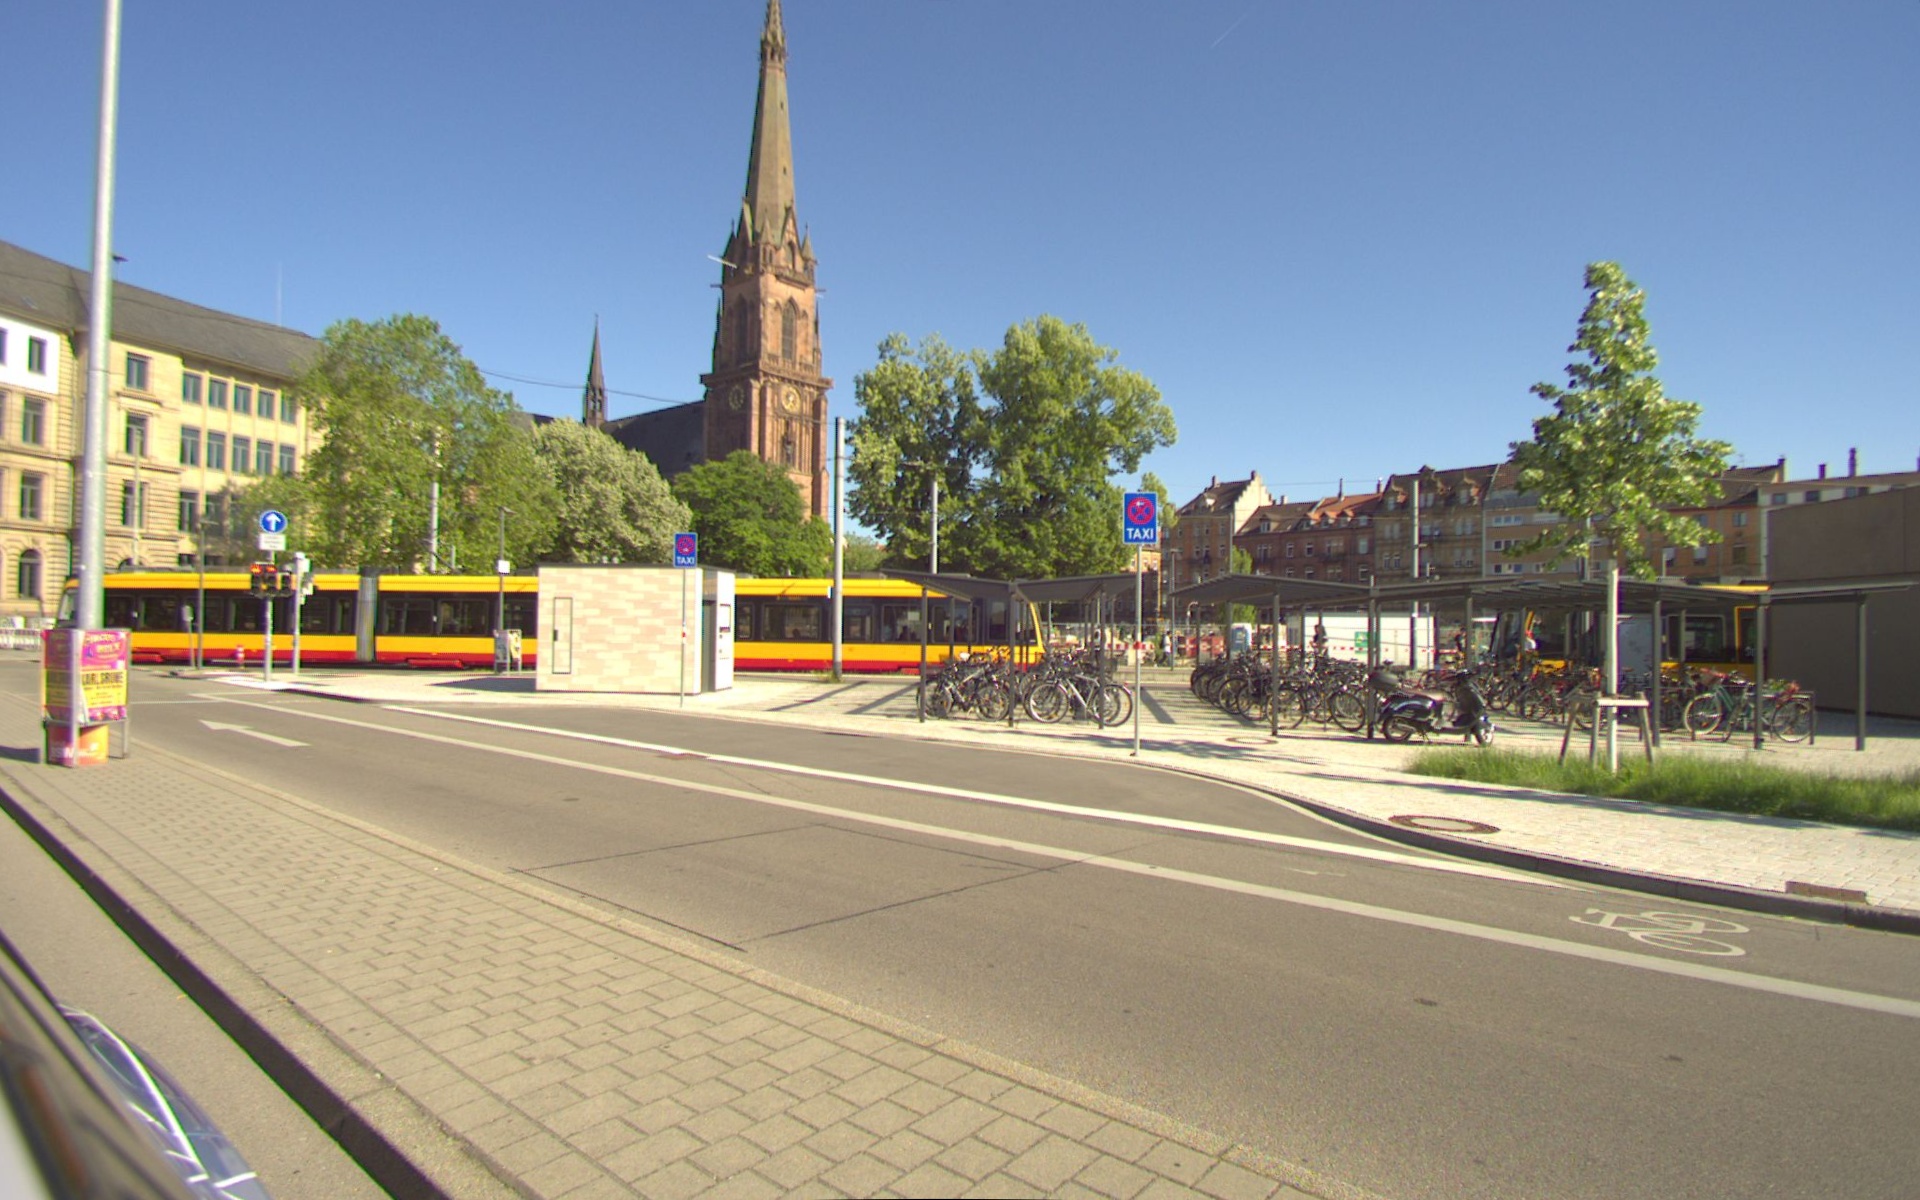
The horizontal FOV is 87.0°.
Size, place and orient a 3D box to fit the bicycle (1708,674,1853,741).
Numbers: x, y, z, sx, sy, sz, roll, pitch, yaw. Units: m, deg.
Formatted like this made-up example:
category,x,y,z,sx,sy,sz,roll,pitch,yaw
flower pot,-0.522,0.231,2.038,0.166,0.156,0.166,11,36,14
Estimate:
category,x,y,z,sx,sy,sz,roll,pitch,yaw
bicycle,13.022,1.699,16.080,1.803,1.015,0.629,1,-2,-3

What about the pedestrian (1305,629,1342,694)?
category,x,y,z,sx,sy,sz,roll,pitch,yaw
pedestrian,9.483,1.598,26.448,0.762,1.672,0.604,0,-2,4

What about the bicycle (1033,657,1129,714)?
category,x,y,z,sx,sy,sz,roll,pitch,yaw
bicycle,2.323,1.639,19.543,1.808,1.015,0.745,0,-2,7

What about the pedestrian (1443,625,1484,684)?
category,x,y,z,sx,sy,sz,roll,pitch,yaw
pedestrian,17.665,1.907,35.513,0.997,2.029,0.872,0,-2,0

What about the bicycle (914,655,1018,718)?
category,x,y,z,sx,sy,sz,roll,pitch,yaw
bicycle,0.118,1.541,18.239,1.809,1.074,0.627,0,-2,9

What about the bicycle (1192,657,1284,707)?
category,x,y,z,sx,sy,sz,roll,pitch,yaw
bicycle,5.971,1.761,21.809,1.805,1.015,0.629,0,-2,0

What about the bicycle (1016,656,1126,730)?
category,x,y,z,sx,sy,sz,roll,pitch,yaw
bicycle,1.867,1.559,17.136,1.808,1.167,0.627,1,-2,7

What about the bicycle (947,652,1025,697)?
category,x,y,z,sx,sy,sz,roll,pitch,yaw
bicycle,0.621,1.754,24.117,1.809,1.015,0.627,0,-2,9

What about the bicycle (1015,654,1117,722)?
category,x,y,z,sx,sy,sz,roll,pitch,yaw
bicycle,1.911,1.581,18.278,1.808,1.157,0.627,0,-2,7

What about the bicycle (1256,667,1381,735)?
category,x,y,z,sx,sy,sz,roll,pitch,yaw
bicycle,5.979,1.680,16.981,1.871,1.050,0.688,0,-2,9

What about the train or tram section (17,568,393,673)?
category,x,y,z,sx,sy,sz,roll,pitch,yaw
train or tram section,-27.525,0.739,37.112,12.382,3.628,2.796,0,-2,6

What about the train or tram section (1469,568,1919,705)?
category,x,y,z,sx,sy,sz,roll,pitch,yaw
train or tram section,21.393,0.989,28.653,12.179,3.628,2.748,0,-2,7

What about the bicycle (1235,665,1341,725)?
category,x,y,z,sx,sy,sz,roll,pitch,yaw
bicycle,5.855,1.689,18.135,1.731,1.015,0.547,0,-2,10

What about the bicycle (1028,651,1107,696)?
category,x,y,z,sx,sy,sz,roll,pitch,yaw
bicycle,2.512,1.707,23.612,1.808,1.015,0.627,0,-2,7

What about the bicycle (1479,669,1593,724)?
category,x,y,z,sx,sy,sz,roll,pitch,yaw
bicycle,11.264,1.877,19.844,1.809,1.015,0.627,0,-2,9

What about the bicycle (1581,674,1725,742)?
category,x,y,z,sx,sy,sz,roll,pitch,yaw
bicycle,11.161,1.726,16.352,1.809,1.015,0.627,0,-2,9

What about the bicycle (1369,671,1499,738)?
category,x,y,z,sx,sy,sz,roll,pitch,yaw
bicycle,7.770,1.708,16.653,1.808,1.015,0.627,0,-2,7

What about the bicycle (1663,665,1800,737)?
category,x,y,z,sx,sy,sz,roll,pitch,yaw
bicycle,12.993,1.692,17.068,1.805,1.155,0.629,0,-2,0

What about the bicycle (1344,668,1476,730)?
category,x,y,z,sx,sy,sz,roll,pitch,yaw
bicycle,7.921,1.734,17.879,2.003,1.015,0.627,0,-2,7

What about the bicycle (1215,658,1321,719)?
category,x,y,z,sx,sy,sz,roll,pitch,yaw
bicycle,5.878,1.686,19.413,1.859,1.101,0.626,0,-2,8

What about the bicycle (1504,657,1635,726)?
category,x,y,z,sx,sy,sz,roll,pitch,yaw
bicycle,11.299,1.689,18.805,2.029,1.218,0.505,0,-2,8

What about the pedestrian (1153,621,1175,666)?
category,x,y,z,sx,sy,sz,roll,pitch,yaw
pedestrian,9.237,1.978,45.870,0.861,2.029,0.749,0,-2,5

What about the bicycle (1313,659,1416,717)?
category,x,y,z,sx,sy,sz,roll,pitch,yaw
bicycle,8.076,1.751,20.265,1.808,1.088,0.627,0,-2,7

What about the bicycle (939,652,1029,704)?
category,x,y,z,sx,sy,sz,roll,pitch,yaw
bicycle,0.514,1.619,21.142,1.809,1.015,0.627,0,-2,9

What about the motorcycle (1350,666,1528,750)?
category,x,y,z,sx,sy,sz,roll,pitch,yaw
motorcycle,7.170,1.608,15.236,2.333,1.167,0.610,0,-2,7

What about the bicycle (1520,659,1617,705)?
category,x,y,z,sx,sy,sz,roll,pitch,yaw
bicycle,14.054,1.885,23.409,1.808,1.015,0.627,0,-2,7

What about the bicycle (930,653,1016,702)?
category,x,y,z,sx,sy,sz,roll,pitch,yaw
bicycle,0.291,1.694,22.173,1.809,1.015,0.627,0,-2,9

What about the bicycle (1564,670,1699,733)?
category,x,y,z,sx,sy,sz,roll,pitch,yaw
bicycle,11.605,1.746,17.529,1.872,1.004,0.499,0,-2,13

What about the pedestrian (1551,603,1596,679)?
category,x,y,z,sx,sy,sz,roll,pitch,yaw
pedestrian,15.394,1.027,25.379,0.700,1.869,0.751,2,-2,-38

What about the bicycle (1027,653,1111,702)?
category,x,y,z,sx,sy,sz,roll,pitch,yaw
bicycle,2.379,1.691,22.126,1.808,1.015,0.627,0,-2,7

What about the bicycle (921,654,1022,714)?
category,x,y,z,sx,sy,sz,roll,pitch,yaw
bicycle,0.215,1.547,18.768,1.809,1.059,0.571,0,-2,9

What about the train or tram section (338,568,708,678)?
category,x,y,z,sx,sy,sz,roll,pitch,yaw
train or tram section,-15.288,0.790,35.781,12.174,3.628,2.796,0,-2,6

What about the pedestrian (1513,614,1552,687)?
category,x,y,z,sx,sy,sz,roll,pitch,yaw
pedestrian,14.846,1.302,26.246,0.595,1.869,0.683,2,-2,-38

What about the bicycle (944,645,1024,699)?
category,x,y,z,sx,sy,sz,roll,pitch,yaw
bicycle,0.563,1.651,23.417,1.809,1.188,0.627,0,-2,9

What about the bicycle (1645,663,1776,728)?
category,x,y,z,sx,sy,sz,roll,pitch,yaw
bicycle,13.592,1.721,18.363,1.808,1.101,0.627,0,-2,7

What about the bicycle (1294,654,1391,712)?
category,x,y,z,sx,sy,sz,roll,pitch,yaw
bicycle,8.113,1.750,21.531,1.808,1.170,0.627,0,-2,7

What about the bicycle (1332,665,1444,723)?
category,x,y,z,sx,sy,sz,roll,pitch,yaw
bicycle,8.002,1.753,18.974,1.808,1.015,0.627,0,-2,7

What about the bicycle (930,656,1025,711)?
category,x,y,z,sx,sy,sz,roll,pitch,yaw
bicycle,0.363,1.639,19.987,1.809,1.015,0.627,0,-2,9

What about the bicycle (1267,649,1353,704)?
category,x,y,z,sx,sy,sz,roll,pitch,yaw
bicycle,8.238,1.789,23.879,1.808,1.242,0.627,0,-2,7

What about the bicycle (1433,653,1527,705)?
category,x,y,z,sx,sy,sz,roll,pitch,yaw
bicycle,12.002,1.819,23.406,1.809,1.140,0.627,0,-2,9

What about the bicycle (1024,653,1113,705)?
category,x,y,z,sx,sy,sz,roll,pitch,yaw
bicycle,2.231,1.613,20.851,1.808,1.015,0.627,0,-2,7

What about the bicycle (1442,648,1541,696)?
category,x,y,z,sx,sy,sz,roll,pitch,yaw
bicycle,11.689,1.581,22.310,1.809,1.015,0.627,0,-2,9

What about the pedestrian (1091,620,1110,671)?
category,x,y,z,sx,sy,sz,roll,pitch,yaw
pedestrian,5.138,1.659,37.035,0.673,1.869,0.604,0,-2,6

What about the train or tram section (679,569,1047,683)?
category,x,y,z,sx,sy,sz,roll,pitch,yaw
train or tram section,-3.143,0.845,34.477,12.174,3.628,2.828,0,-2,6

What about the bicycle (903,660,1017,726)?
category,x,y,z,sx,sy,sz,roll,pitch,yaw
bicycle,0.008,1.587,17.374,1.847,1.015,0.699,2,-2,9

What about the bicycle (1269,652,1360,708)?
category,x,y,z,sx,sy,sz,roll,pitch,yaw
bicycle,7.930,1.771,22.681,1.808,1.198,0.647,0,-2,7

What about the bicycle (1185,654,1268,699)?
category,x,y,z,sx,sy,sz,roll,pitch,yaw
bicycle,6.253,1.790,23.801,1.808,1.015,0.627,0,-2,6

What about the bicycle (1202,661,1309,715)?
category,x,y,z,sx,sy,sz,roll,pitch,yaw
bicycle,5.951,1.765,20.434,1.978,1.015,0.628,0,-2,4

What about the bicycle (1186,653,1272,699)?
category,x,y,z,sx,sy,sz,roll,pitch,yaw
bicycle,6.123,1.725,23.113,1.807,1.015,0.628,0,-2,5

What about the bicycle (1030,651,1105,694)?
category,x,y,z,sx,sy,sz,roll,pitch,yaw
bicycle,2.634,1.762,24.812,1.808,1.015,0.627,0,-2,7
